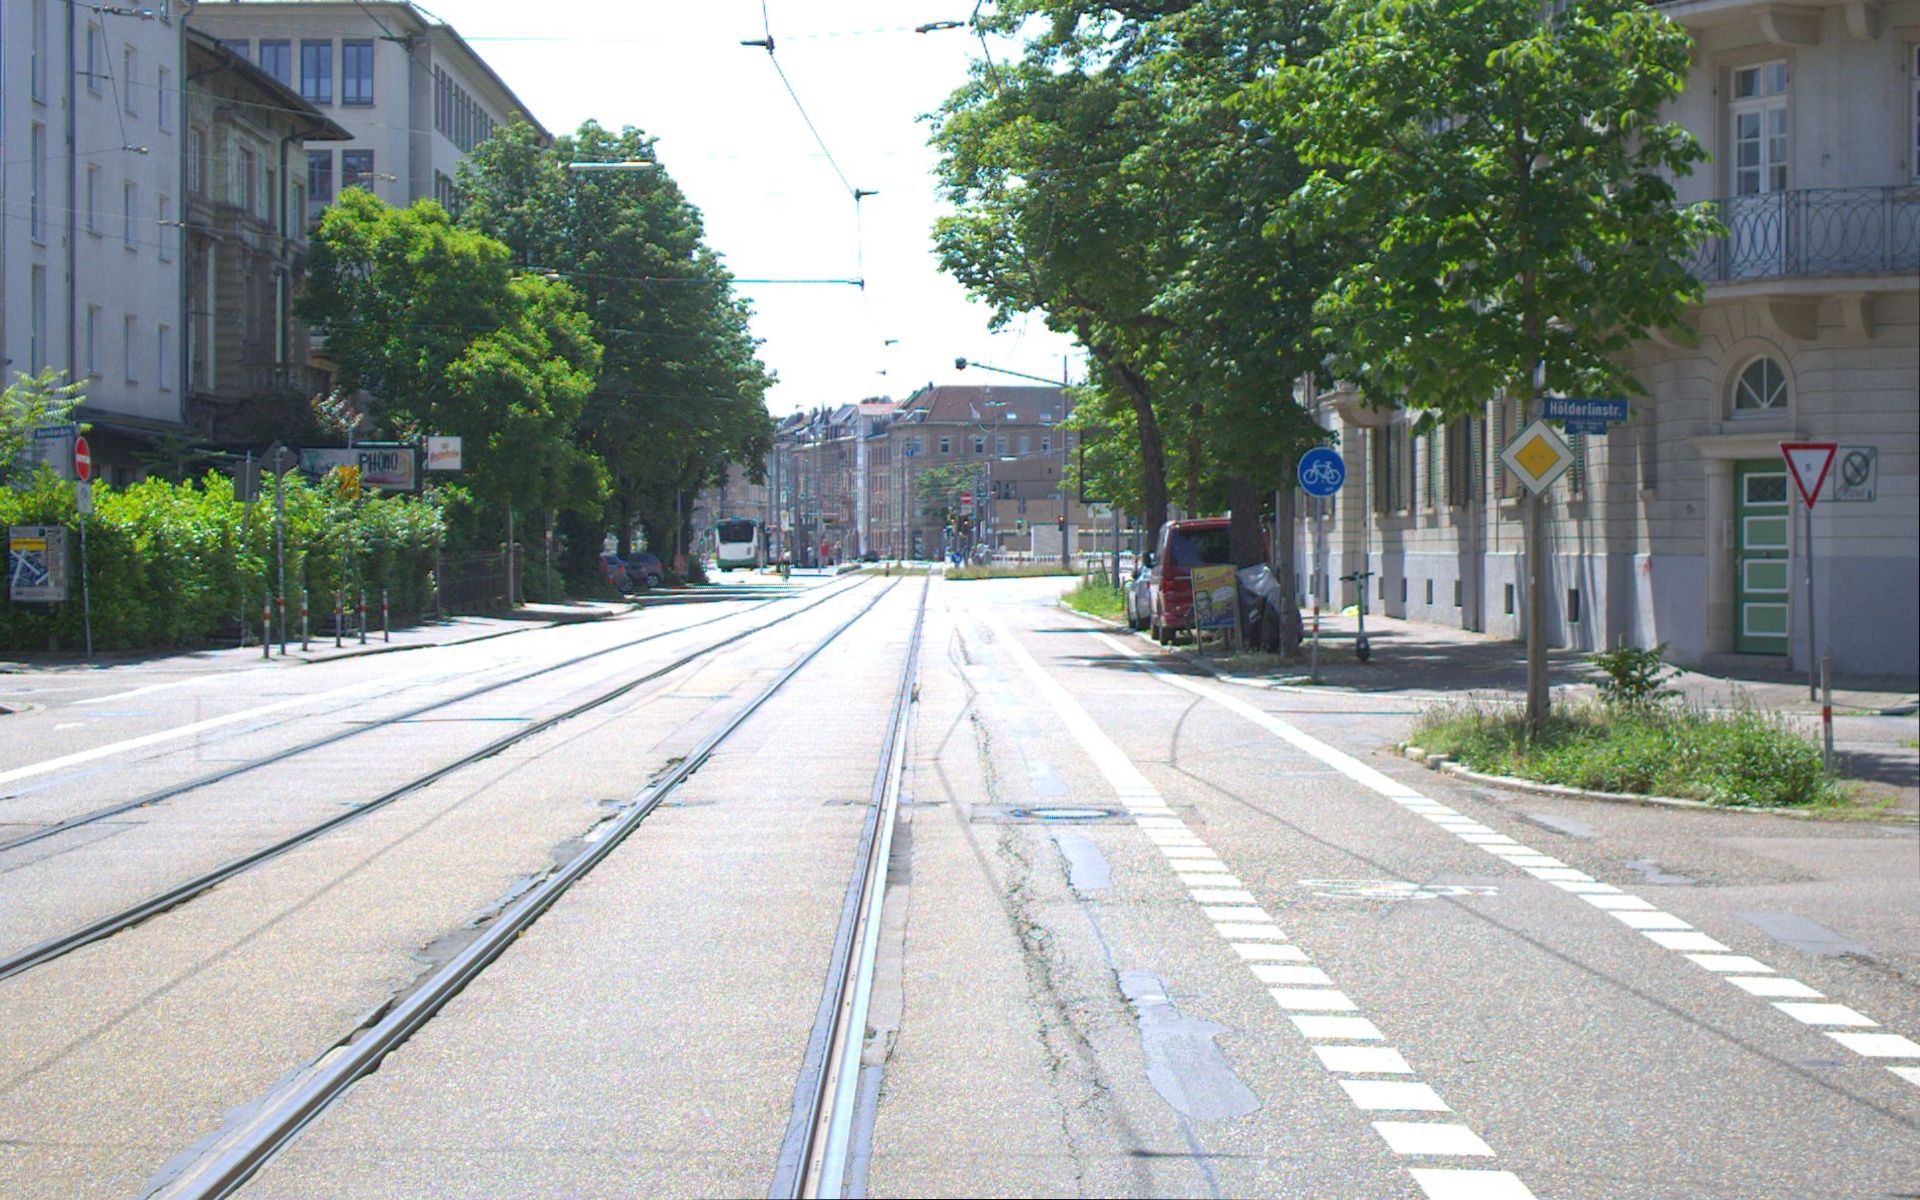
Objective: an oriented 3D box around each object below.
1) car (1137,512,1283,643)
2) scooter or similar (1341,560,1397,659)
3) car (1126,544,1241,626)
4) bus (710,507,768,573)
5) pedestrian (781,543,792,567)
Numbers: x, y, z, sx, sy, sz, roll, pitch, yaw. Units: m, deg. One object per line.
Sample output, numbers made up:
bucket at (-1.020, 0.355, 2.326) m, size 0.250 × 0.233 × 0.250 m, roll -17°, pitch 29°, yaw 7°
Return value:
car at (4.045, -0.415, 56.279) m, size 1.993 × 2.028 × 4.697 m, roll -1°, pitch 2°, yaw 0°
scooter or similar at (5.223, 0.111, 43.936) m, size 0.501 × 1.225 × 1.573 m, roll 0°, pitch 1°, yaw -1°
car at (4.117, -0.306, 63.781) m, size 1.784 × 1.468 × 3.772 m, roll 0°, pitch 1°, yaw -1°
bus at (-13.741, -3.691, 214.326) m, size 2.931 × 3.923 × 11.275 m, roll 2°, pitch 1°, yaw -1°
pedestrian at (-8.581, -2.240, 170.058) m, size 0.491 × 1.169 × 0.590 m, roll -1°, pitch 1°, yaw -10°
